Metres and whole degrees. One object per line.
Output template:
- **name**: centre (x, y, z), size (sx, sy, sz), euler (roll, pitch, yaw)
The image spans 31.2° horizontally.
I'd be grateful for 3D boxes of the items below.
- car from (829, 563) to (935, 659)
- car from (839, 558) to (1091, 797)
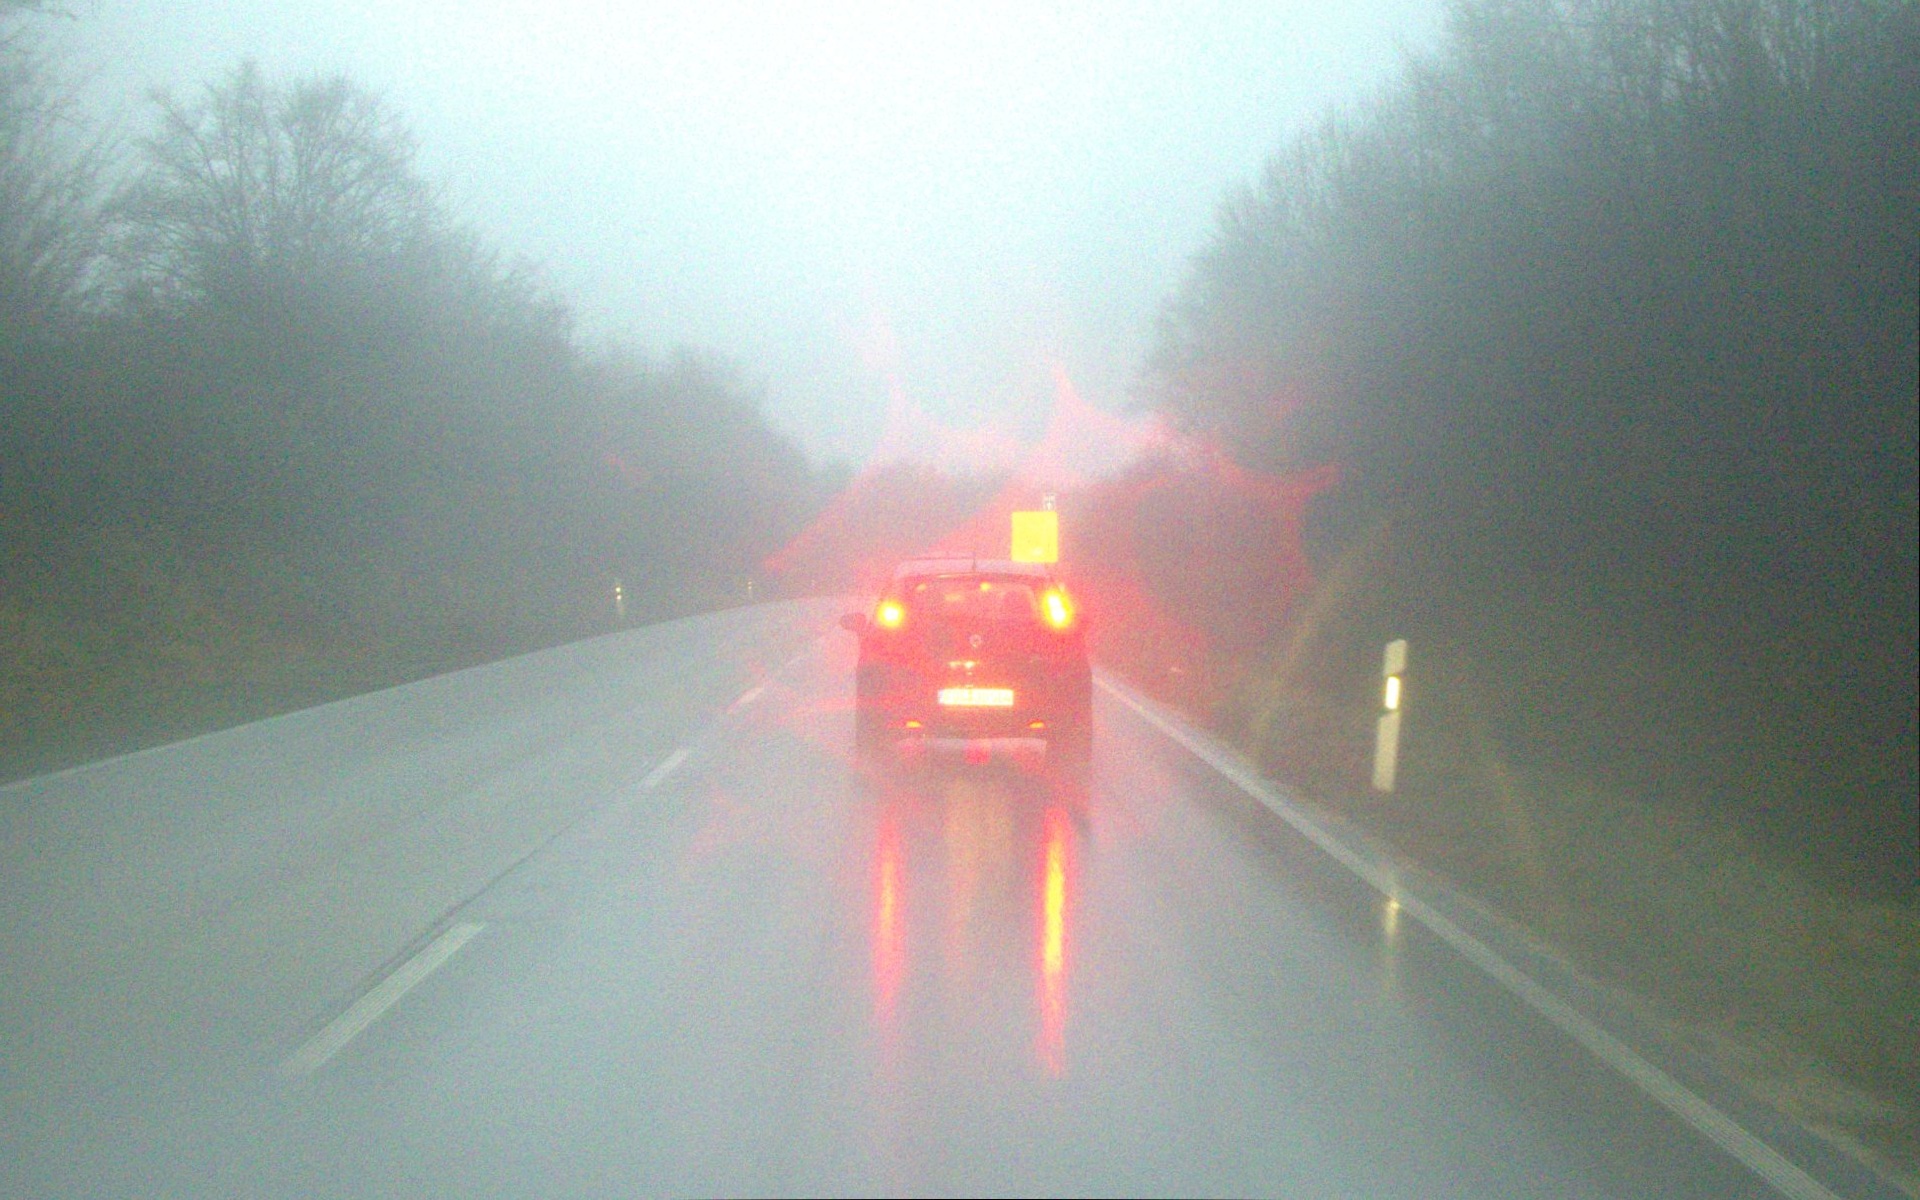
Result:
- **car**: centre (-1.363, 0.170, 61.114), size (1.728, 1.638, 4.000), euler (0, 0, 1)
- **car**: centre (0.064, 0.515, 25.690), size (1.728, 1.638, 4.000), euler (0, 0, 1)
